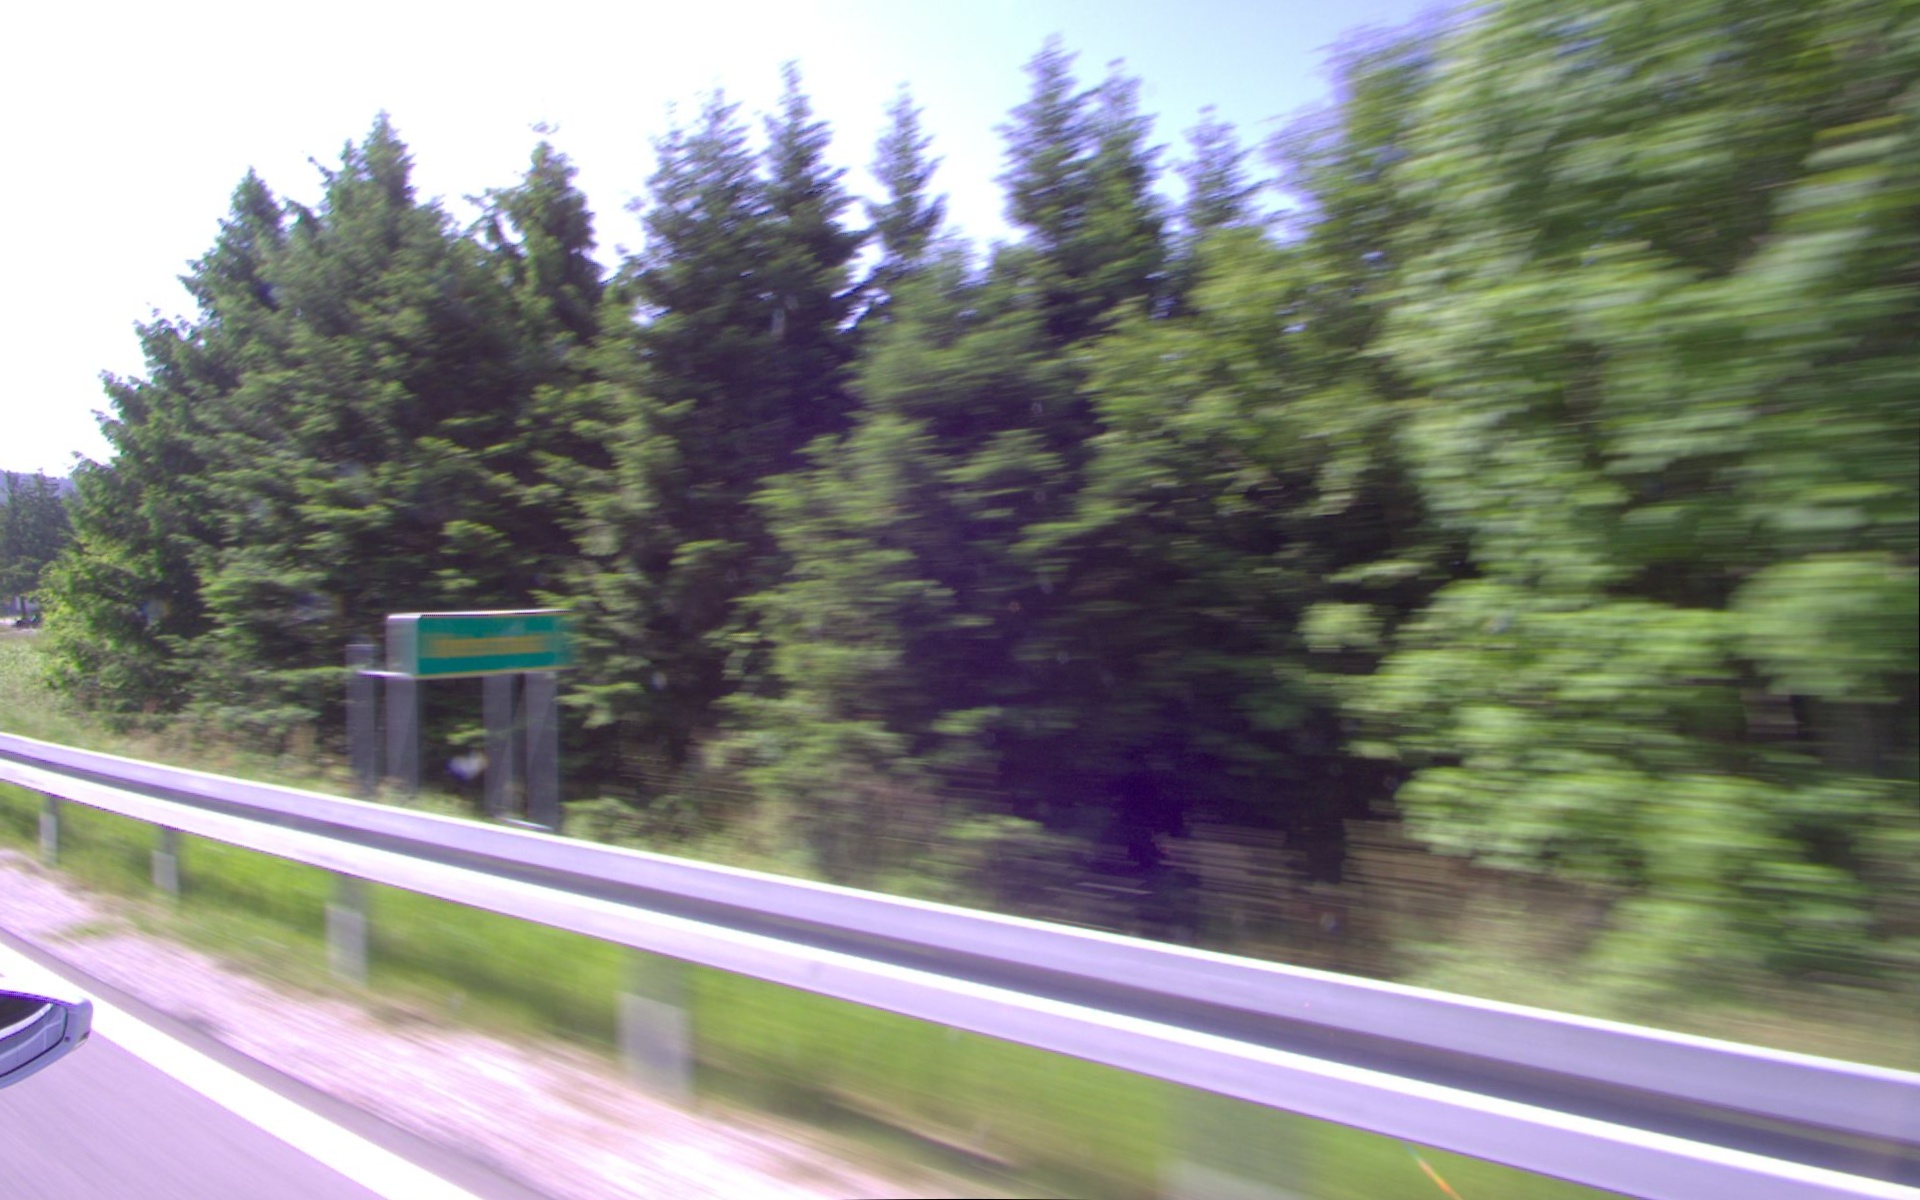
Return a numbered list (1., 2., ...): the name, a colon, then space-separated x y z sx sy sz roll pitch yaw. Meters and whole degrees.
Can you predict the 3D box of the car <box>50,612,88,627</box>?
1. car: -104.790 2.295 117.825 1.829 1.693 4.371 -1 1 -22
